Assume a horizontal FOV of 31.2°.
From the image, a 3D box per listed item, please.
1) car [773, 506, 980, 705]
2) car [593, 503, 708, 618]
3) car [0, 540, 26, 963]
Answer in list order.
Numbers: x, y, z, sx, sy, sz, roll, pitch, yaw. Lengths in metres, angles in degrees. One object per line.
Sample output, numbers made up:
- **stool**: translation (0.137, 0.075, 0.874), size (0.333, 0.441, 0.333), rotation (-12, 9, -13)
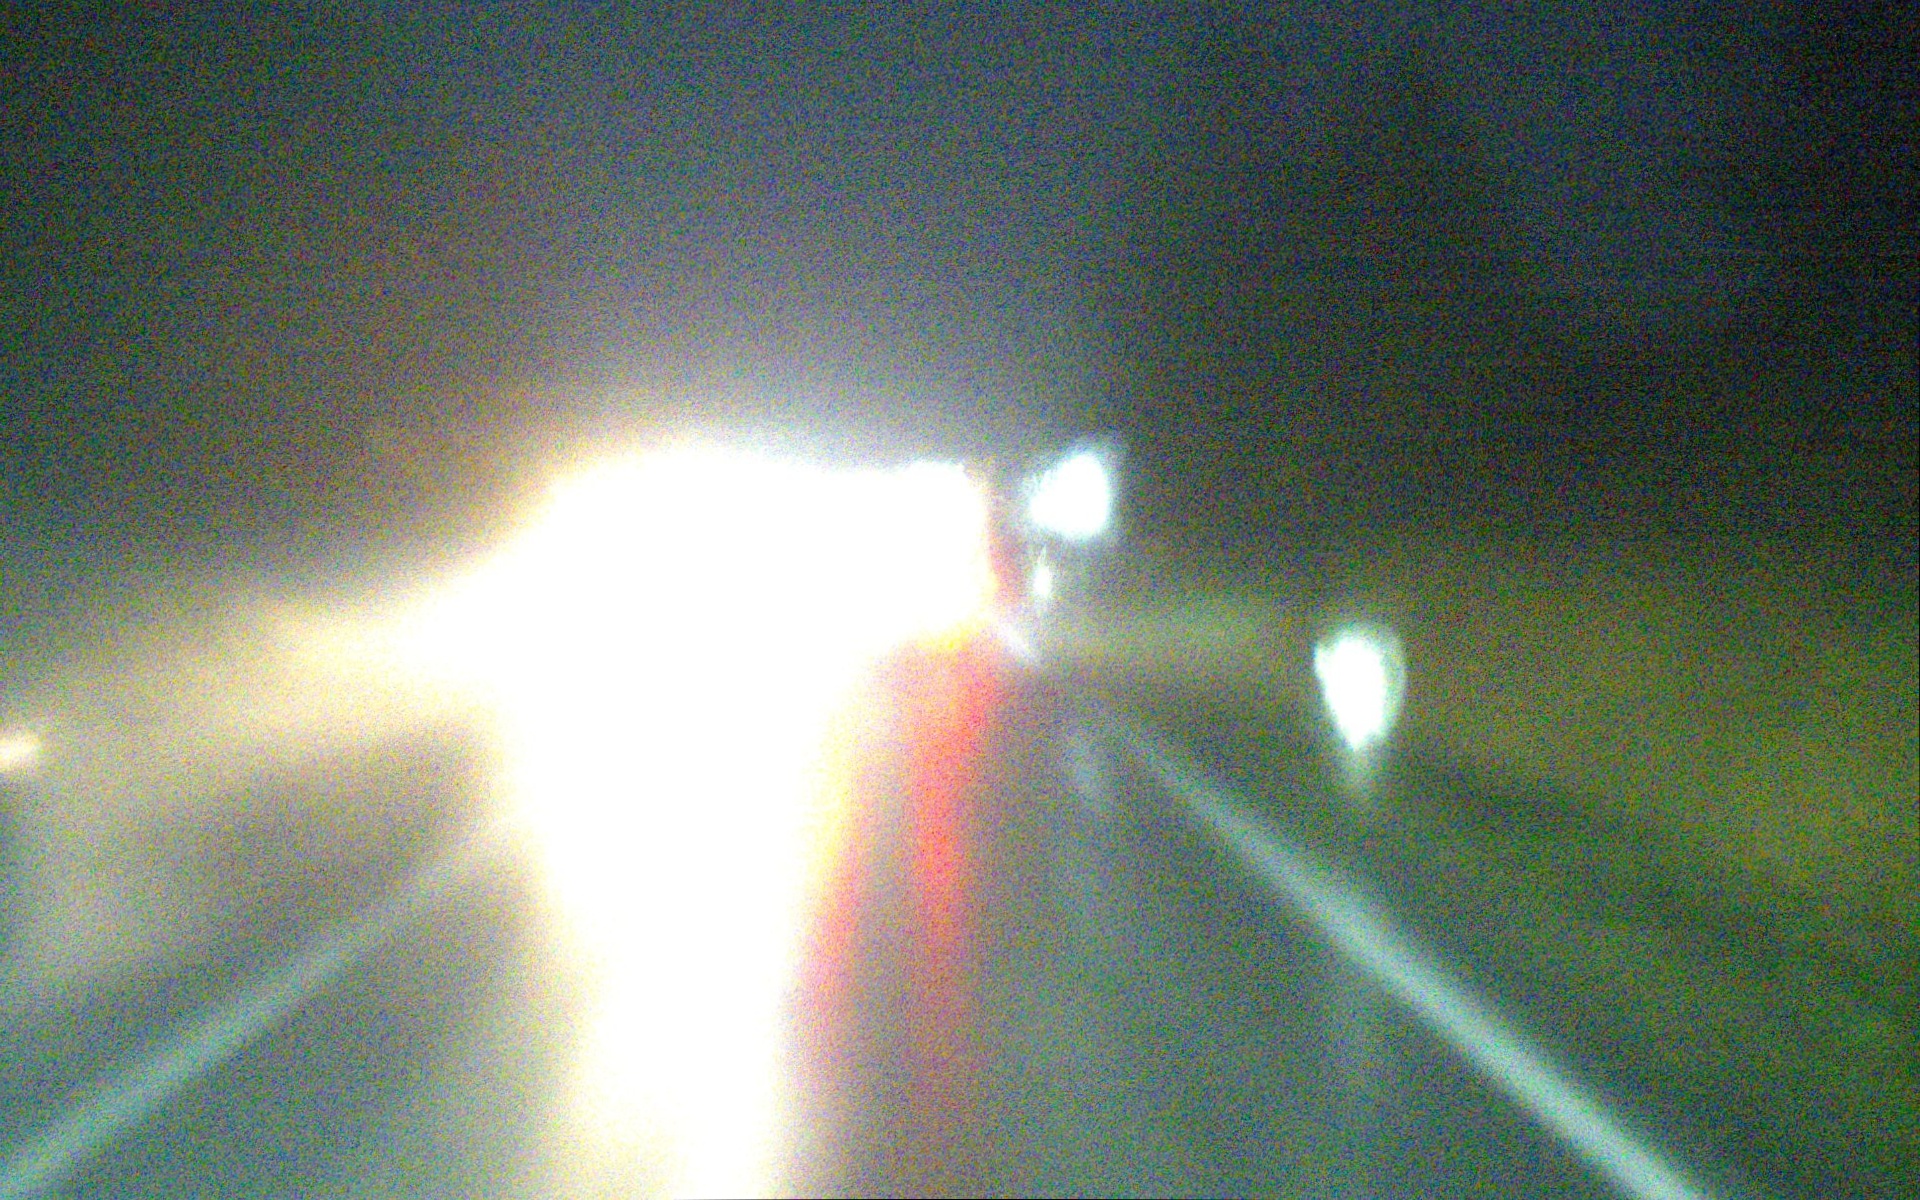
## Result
- **car**: translation (-0.907, 0.004, 37.010), size (2.093, 2.007, 4.001), rotation (1, 1, -2)
- **car**: translation (-5.604, -0.755, 62.596), size (1.993, 2.007, 4.001), rotation (1, 1, -4)
- **car**: translation (-4.026, 0.569, 10.099), size (1.746, 1.421, 3.686), rotation (-1, 2, -4)
